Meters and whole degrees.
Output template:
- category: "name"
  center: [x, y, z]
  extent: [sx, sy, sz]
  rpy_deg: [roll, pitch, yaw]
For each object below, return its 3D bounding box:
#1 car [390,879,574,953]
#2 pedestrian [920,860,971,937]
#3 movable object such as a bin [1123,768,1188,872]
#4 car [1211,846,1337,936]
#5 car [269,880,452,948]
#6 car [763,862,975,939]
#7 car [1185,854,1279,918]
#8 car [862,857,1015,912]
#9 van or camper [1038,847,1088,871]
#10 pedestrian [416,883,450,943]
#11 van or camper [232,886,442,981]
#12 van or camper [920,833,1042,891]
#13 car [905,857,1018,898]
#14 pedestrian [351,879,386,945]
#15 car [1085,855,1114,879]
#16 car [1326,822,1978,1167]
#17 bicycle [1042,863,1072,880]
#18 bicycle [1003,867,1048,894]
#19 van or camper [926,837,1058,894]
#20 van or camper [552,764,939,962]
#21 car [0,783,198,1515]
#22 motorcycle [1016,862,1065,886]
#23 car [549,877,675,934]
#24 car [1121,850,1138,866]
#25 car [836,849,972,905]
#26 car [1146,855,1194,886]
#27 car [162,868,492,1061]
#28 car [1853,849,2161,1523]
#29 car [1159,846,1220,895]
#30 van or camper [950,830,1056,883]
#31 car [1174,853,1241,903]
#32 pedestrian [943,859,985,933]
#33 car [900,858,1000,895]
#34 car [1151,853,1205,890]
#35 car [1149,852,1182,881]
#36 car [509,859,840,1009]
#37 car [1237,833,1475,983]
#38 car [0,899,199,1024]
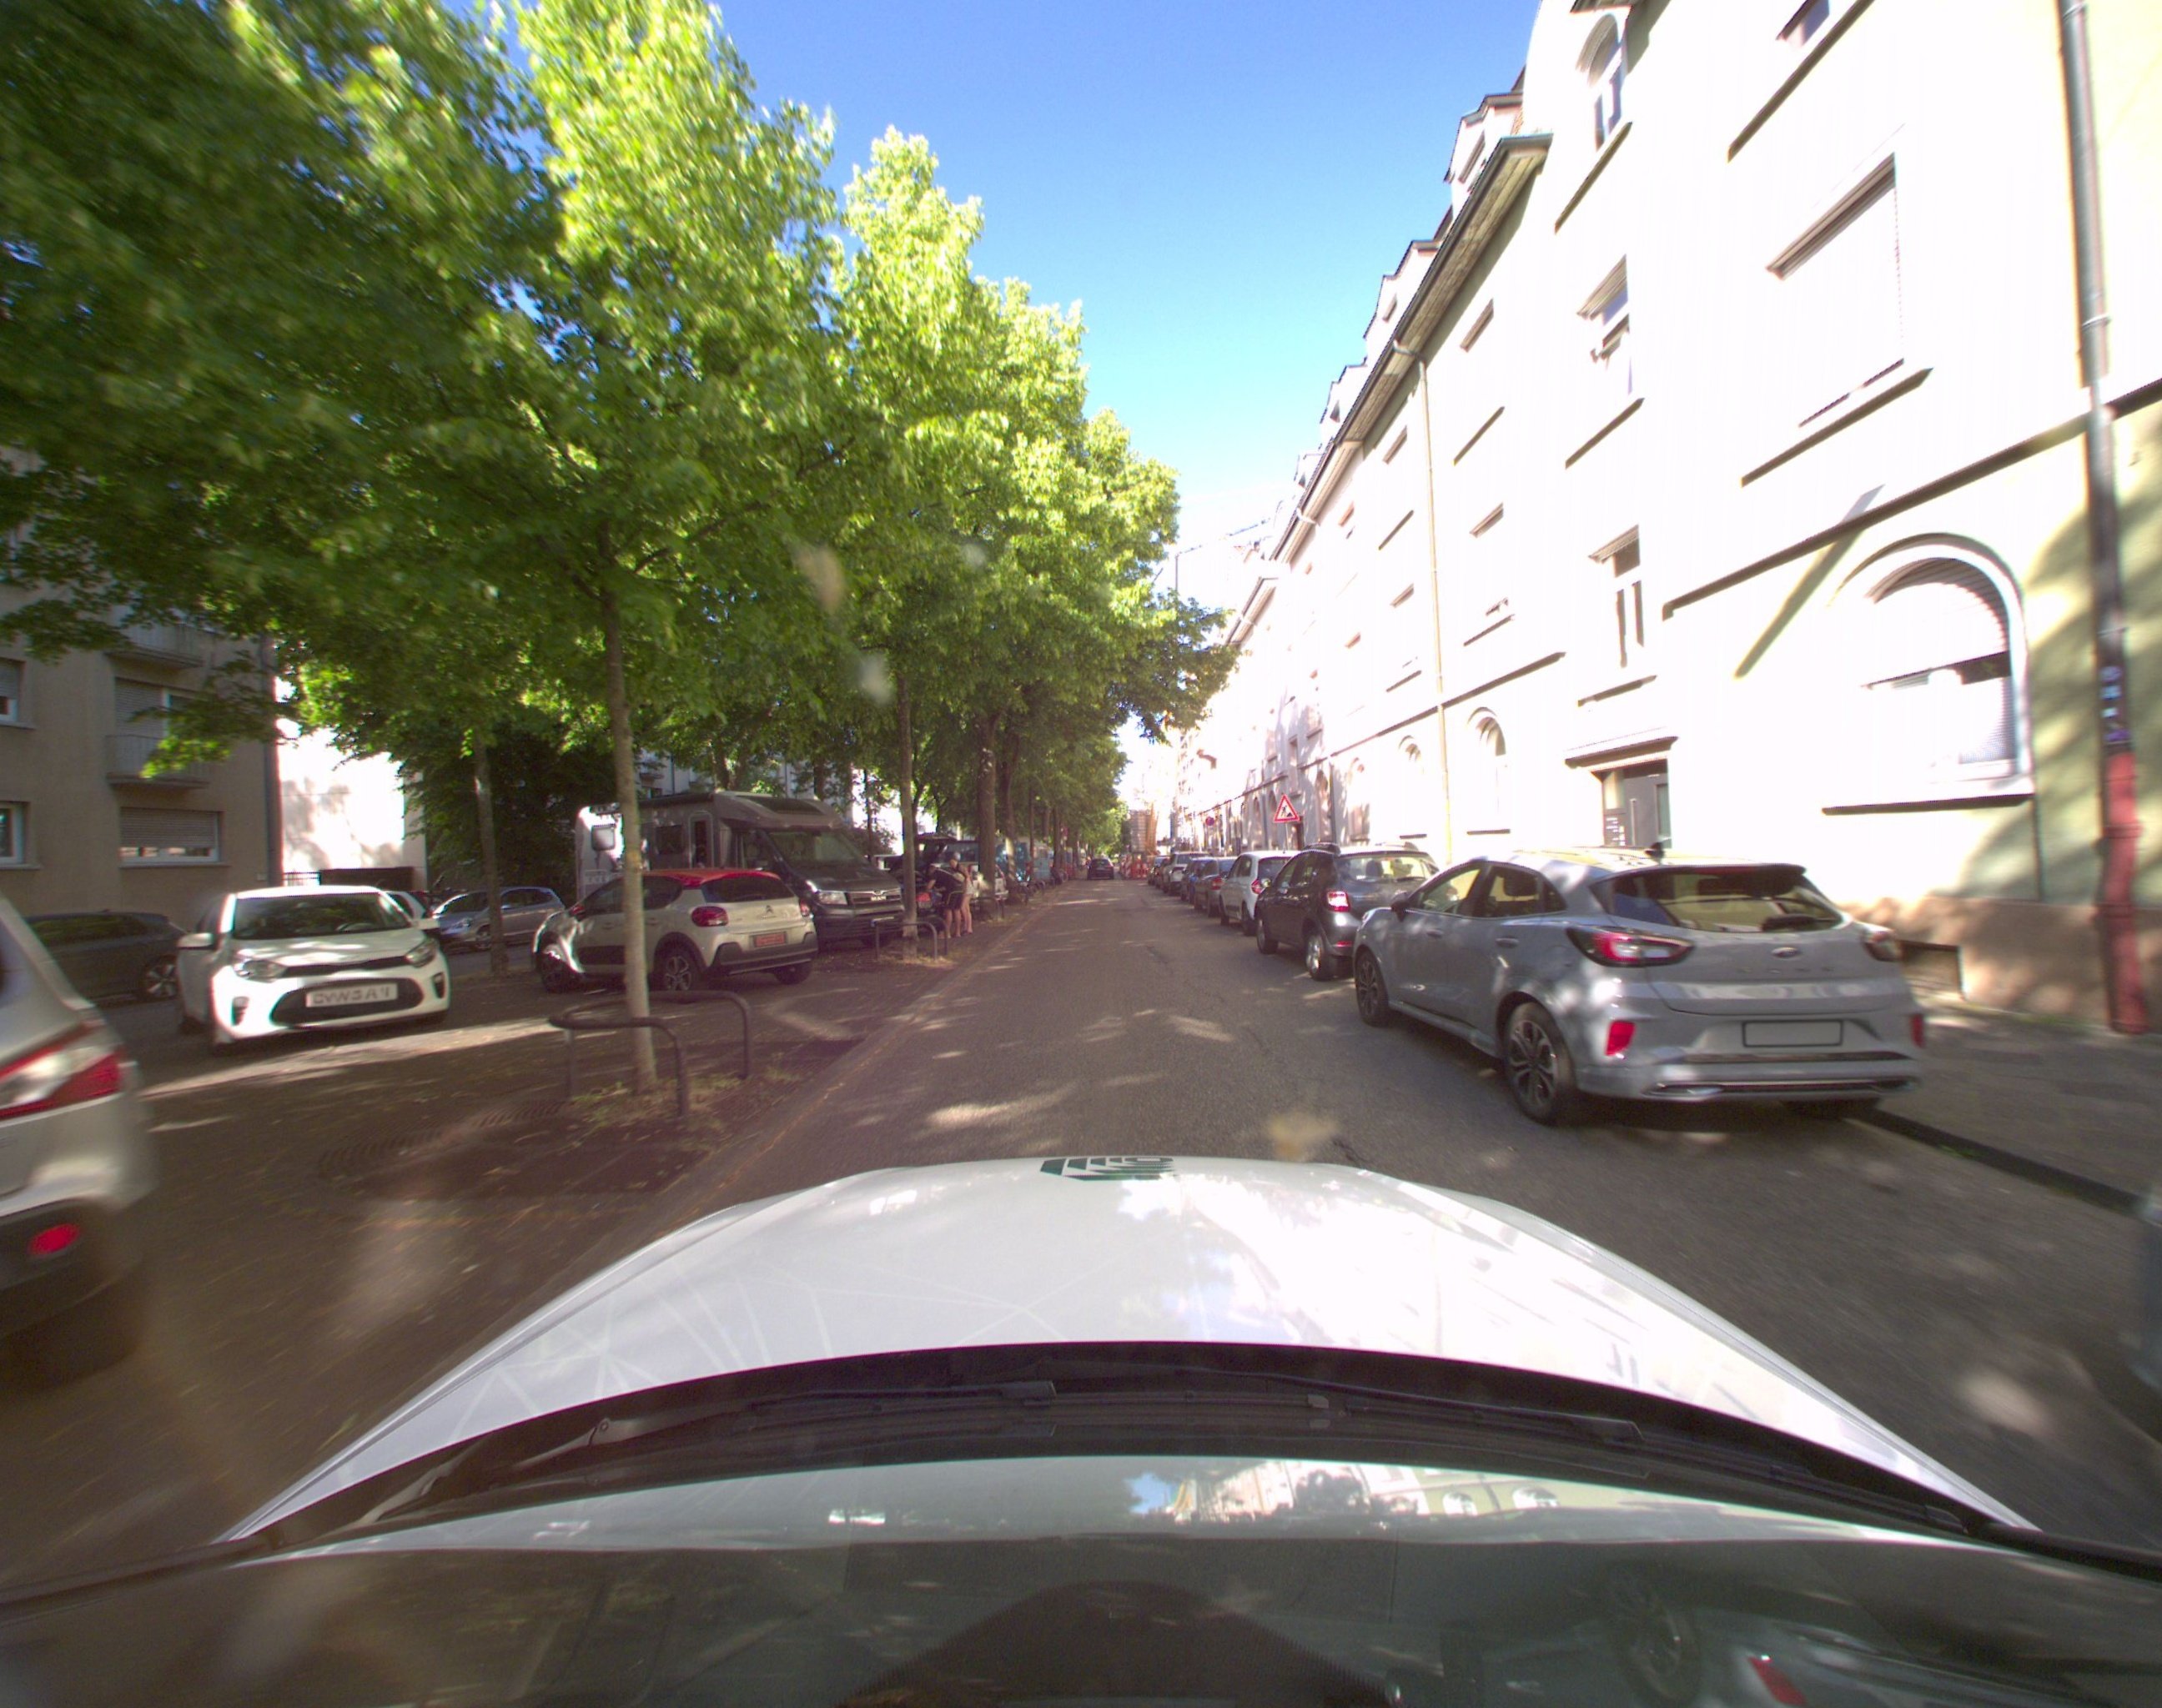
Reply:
- category: "car"
  center: [-14.746, 1.464, 20.339]
  extent: [1.657, 1.499, 3.771]
  rpy_deg: [-2, 0, 2]
- category: "pedestrian"
  center: [-2.650, 0.872, 15.922]
  extent: [0.703, 1.456, 0.600]
  rpy_deg: [-3, 0, 24]
- category: "movable object such as a bin"
  center: [4.992, -2.209, 54.888]
  extent: [3.445, 6.759, 2.383]
  rpy_deg: [-2, -1, 34]
- category: "car"
  center: [3.714, 0.658, 16.261]
  extent: [1.625, 1.534, 3.592]
  rpy_deg: [-2, 0, 0]
- category: "car"
  center: [-19.304, 1.559, 22.048]
  extent: [1.619, 1.482, 3.613]
  rpy_deg: [-3, 0, 2]
- category: "car"
  center: [-4.513, 0.956, 17.212]
  extent: [4.274, 1.424, 1.685]
  rpy_deg: [-2, 0, 28]
- category: "car"
  center: [3.756, 0.743, 20.889]
  extent: [1.625, 1.413, 4.088]
  rpy_deg: [-2, 0, 0]
- category: "car"
  center: [-4.273, 0.910, 24.104]
  extent: [4.431, 1.443, 1.744]
  rpy_deg: [-2, 0, 34]
- category: "van or camper"
  center: [-2.134, 0.599, 95.560]
  extent: [5.280, 2.474, 2.308]
  rpy_deg: [-3, 0, 33]
- category: "pedestrian"
  center: [-19.336, 1.737, 24.299]
  extent: [0.497, 1.727, 0.559]
  rpy_deg: [-3, 0, 1]
- category: "van or camper"
  center: [-14.684, 1.507, 16.260]
  extent: [1.590, 1.555, 2.698]
  rpy_deg: [-3, 0, 2]
- category: "van or camper"
  center: [-5.074, 0.414, 41.066]
  extent: [5.811, 2.637, 2.269]
  rpy_deg: [-3, 0, 31]
- category: "car"
  center: [-4.601, 0.900, 31.297]
  extent: [3.905, 1.443, 1.858]
  rpy_deg: [-2, 0, 29]
- category: "pedestrian"
  center: [-20.349, 1.659, 23.268]
  extent: [0.497, 1.826, 0.463]
  rpy_deg: [-3, 0, 1]
- category: "car"
  center: [1.238, 0.860, 54.710]
  extent: [1.791, 1.503, 3.586]
  rpy_deg: [-3, 0, 1]
- category: "car"
  center: [3.281, 0.645, 5.853]
  extent: [1.717, 1.528, 4.157]
  rpy_deg: [-2, 0, 0]
- category: "bicycle"
  center: [-1.505, 1.135, 51.384]
  extent: [1.879, 1.006, 0.433]
  rpy_deg: [-2, 0, 25]
- category: "bicycle"
  center: [-2.255, 1.070, 33.073]
  extent: [1.729, 1.006, 0.507]
  rpy_deg: [-2, 0, -29]
- category: "van or camper"
  center: [-4.036, 0.522, 36.794]
  extent: [5.447, 2.275, 2.233]
  rpy_deg: [-3, 0, 25]
- category: "van or camper"
  center: [-6.228, 0.253, 14.726]
  extent: [7.157, 2.929, 2.328]
  rpy_deg: [-3, 0, 28]
- category: "car"
  center: [-4.564, 0.753, 2.403]
  extent: [4.094, 1.679, 1.770]
  rpy_deg: [-2, 0, 30]
- category: "motorcycle"
  center: [-2.236, 1.096, 44.947]
  extent: [2.534, 1.258, 0.765]
  rpy_deg: [-2, 0, 9]
- category: "car"
  center: [-14.782, 1.576, 25.914]
  extent: [1.657, 1.499, 3.771]
  rpy_deg: [-2, 0, 2]
- category: "car"
  center: [5.710, 0.466, 96.555]
  extent: [1.791, 1.800, 3.586]
  rpy_deg: [-3, 0, 1]
- category: "car"
  center: [-6.142, 0.816, 28.104]
  extent: [4.501, 1.764, 1.822]
  rpy_deg: [-2, 0, 32]
- category: "car"
  center: [4.461, 0.787, 41.581]
  extent: [1.987, 1.409, 4.501]
  rpy_deg: [-2, 0, 1]
- category: "car"
  center: [-7.858, 0.988, 8.426]
  extent: [3.498, 1.507, 1.769]
  rpy_deg: [-3, 0, 35]
- category: "car"
  center: [3.140, 0.705, 0.348]
  extent: [1.716, 1.432, 4.159]
  rpy_deg: [-2, 0, 1]
- category: "car"
  center: [4.099, 0.596, 31.415]
  extent: [1.810, 1.674, 4.675]
  rpy_deg: [-2, 0, 2]
- category: "van or camper"
  center: [-5.233, 0.174, 54.184]
  extent: [6.592, 3.240, 2.511]
  rpy_deg: [-3, 0, 30]
- category: "car"
  center: [3.970, 0.709, 26.057]
  extent: [1.611, 1.413, 3.789]
  rpy_deg: [-2, 0, 2]
- category: "pedestrian"
  center: [-2.368, 0.844, 16.491]
  extent: [0.609, 1.456, 0.522]
  rpy_deg: [-3, 0, 24]
- category: "car"
  center: [-5.581, 0.960, 34.587]
  extent: [3.947, 1.431, 1.732]
  rpy_deg: [-2, 0, 32]
- category: "car"
  center: [4.335, 0.763, 36.945]
  extent: [1.786, 1.523, 3.960]
  rpy_deg: [-2, 0, -3]
- category: "car"
  center: [4.808, 0.698, 46.460]
  extent: [1.586, 1.530, 2.780]
  rpy_deg: [-2, 0, 1]
- category: "car"
  center: [-5.140, 0.911, 10.203]
  extent: [3.948, 1.507, 1.768]
  rpy_deg: [-3, 0, 30]
- category: "car"
  center: [3.456, 0.598, 11.124]
  extent: [1.718, 1.596, 4.155]
  rpy_deg: [-2, 0, -2]
- category: "car"
  center: [-15.173, 1.528, 10.962]
  extent: [1.757, 1.508, 4.311]
  rpy_deg: [-3, 0, 2]
